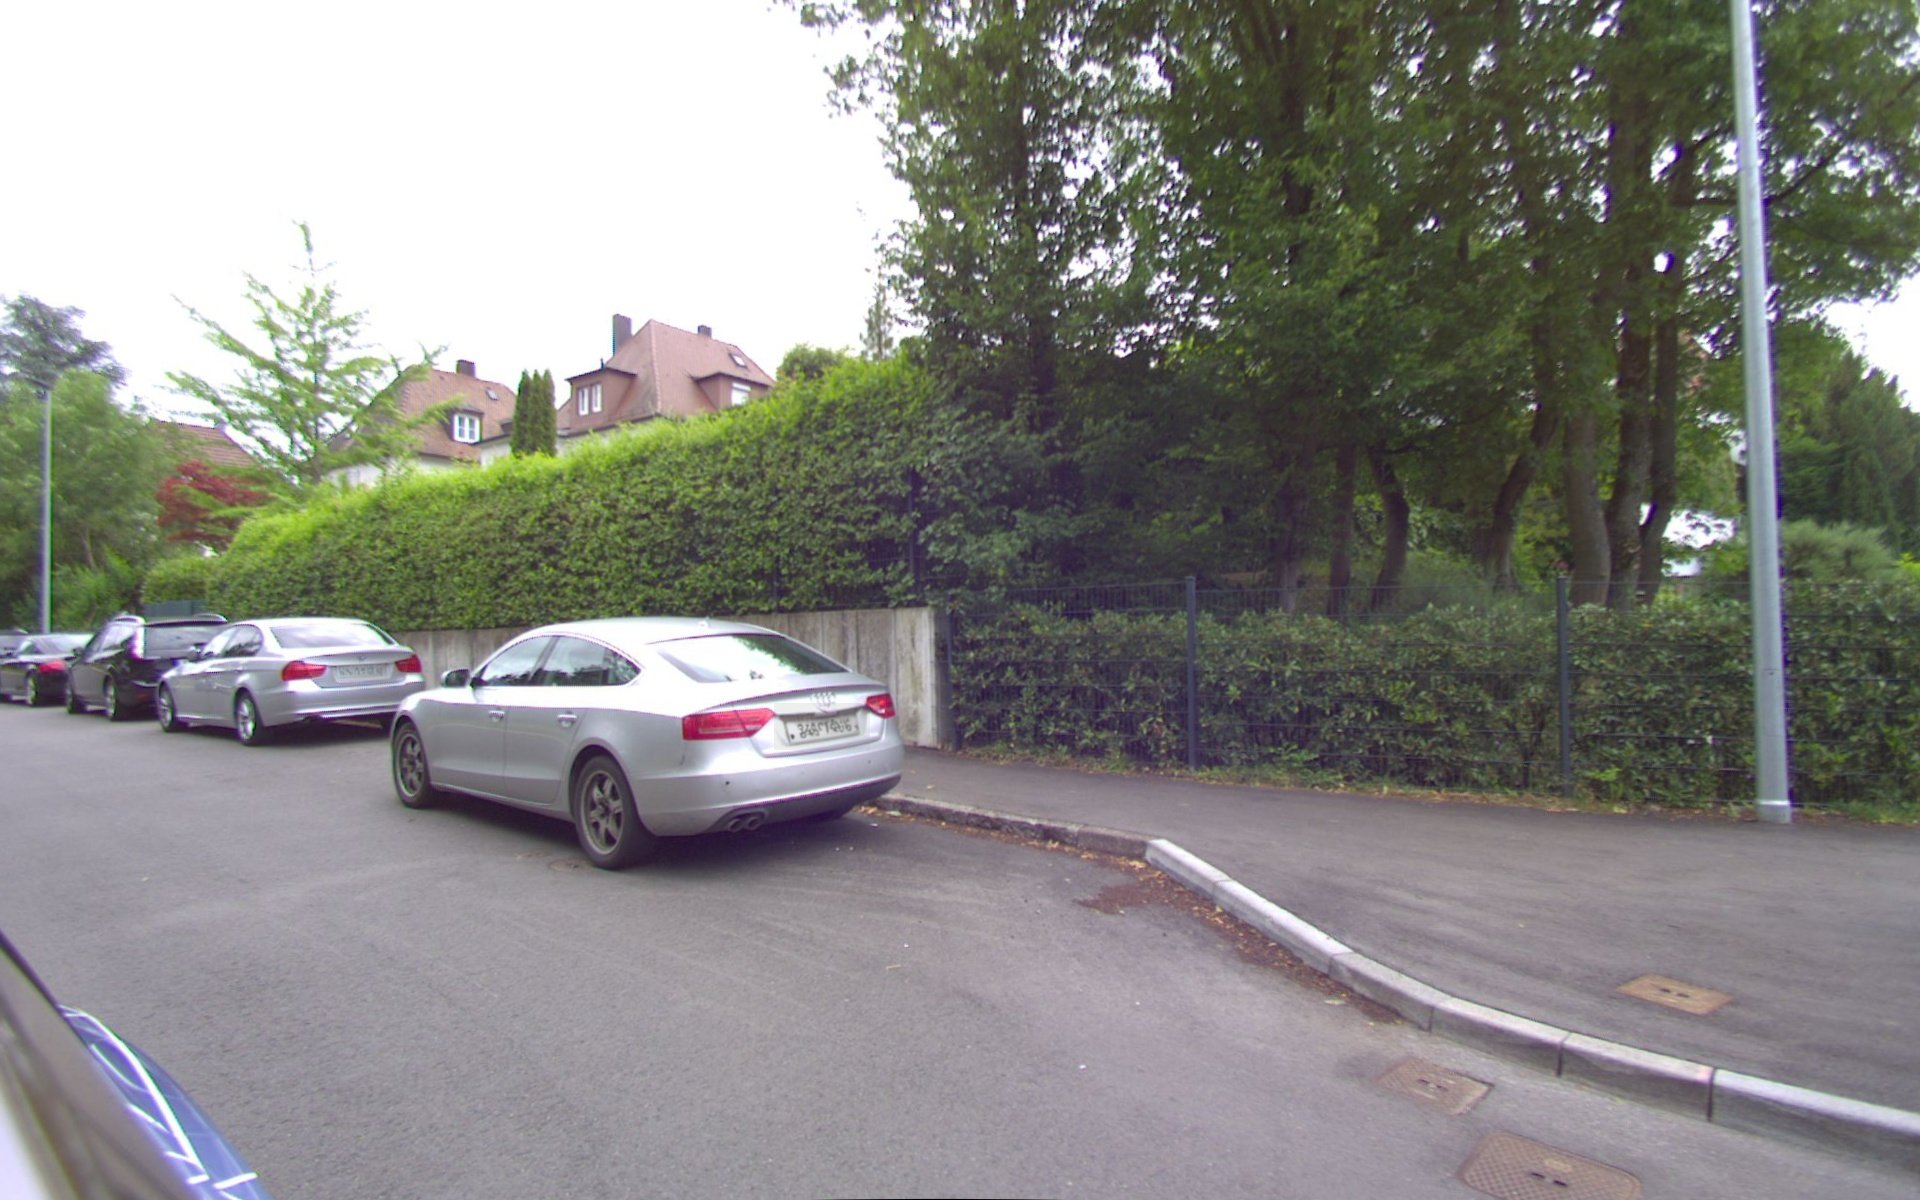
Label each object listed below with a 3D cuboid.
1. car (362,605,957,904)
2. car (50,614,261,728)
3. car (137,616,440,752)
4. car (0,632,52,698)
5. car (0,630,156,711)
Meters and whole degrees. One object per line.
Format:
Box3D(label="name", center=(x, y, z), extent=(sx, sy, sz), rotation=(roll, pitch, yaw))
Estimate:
Box3D(label="car", center=(-2.292, 0.787, 6.949), extent=(4.443, 1.384, 1.812), rotation=(-2, -1, 41))
Box3D(label="car", center=(-12.793, 1.040, 16.000), extent=(4.468, 1.545, 1.640), rotation=(-2, -1, 39))
Box3D(label="car", center=(-8.443, 0.940, 12.590), extent=(4.332, 1.384, 1.759), rotation=(-2, -1, 36))
Box3D(label="car", center=(-22.369, 1.449, 22.945), extent=(4.653, 1.395, 1.703), rotation=(-2, -1, 36))
Box3D(label="car", center=(-17.302, 1.291, 19.453), extent=(4.096, 1.351, 1.697), rotation=(-2, -1, 33))
